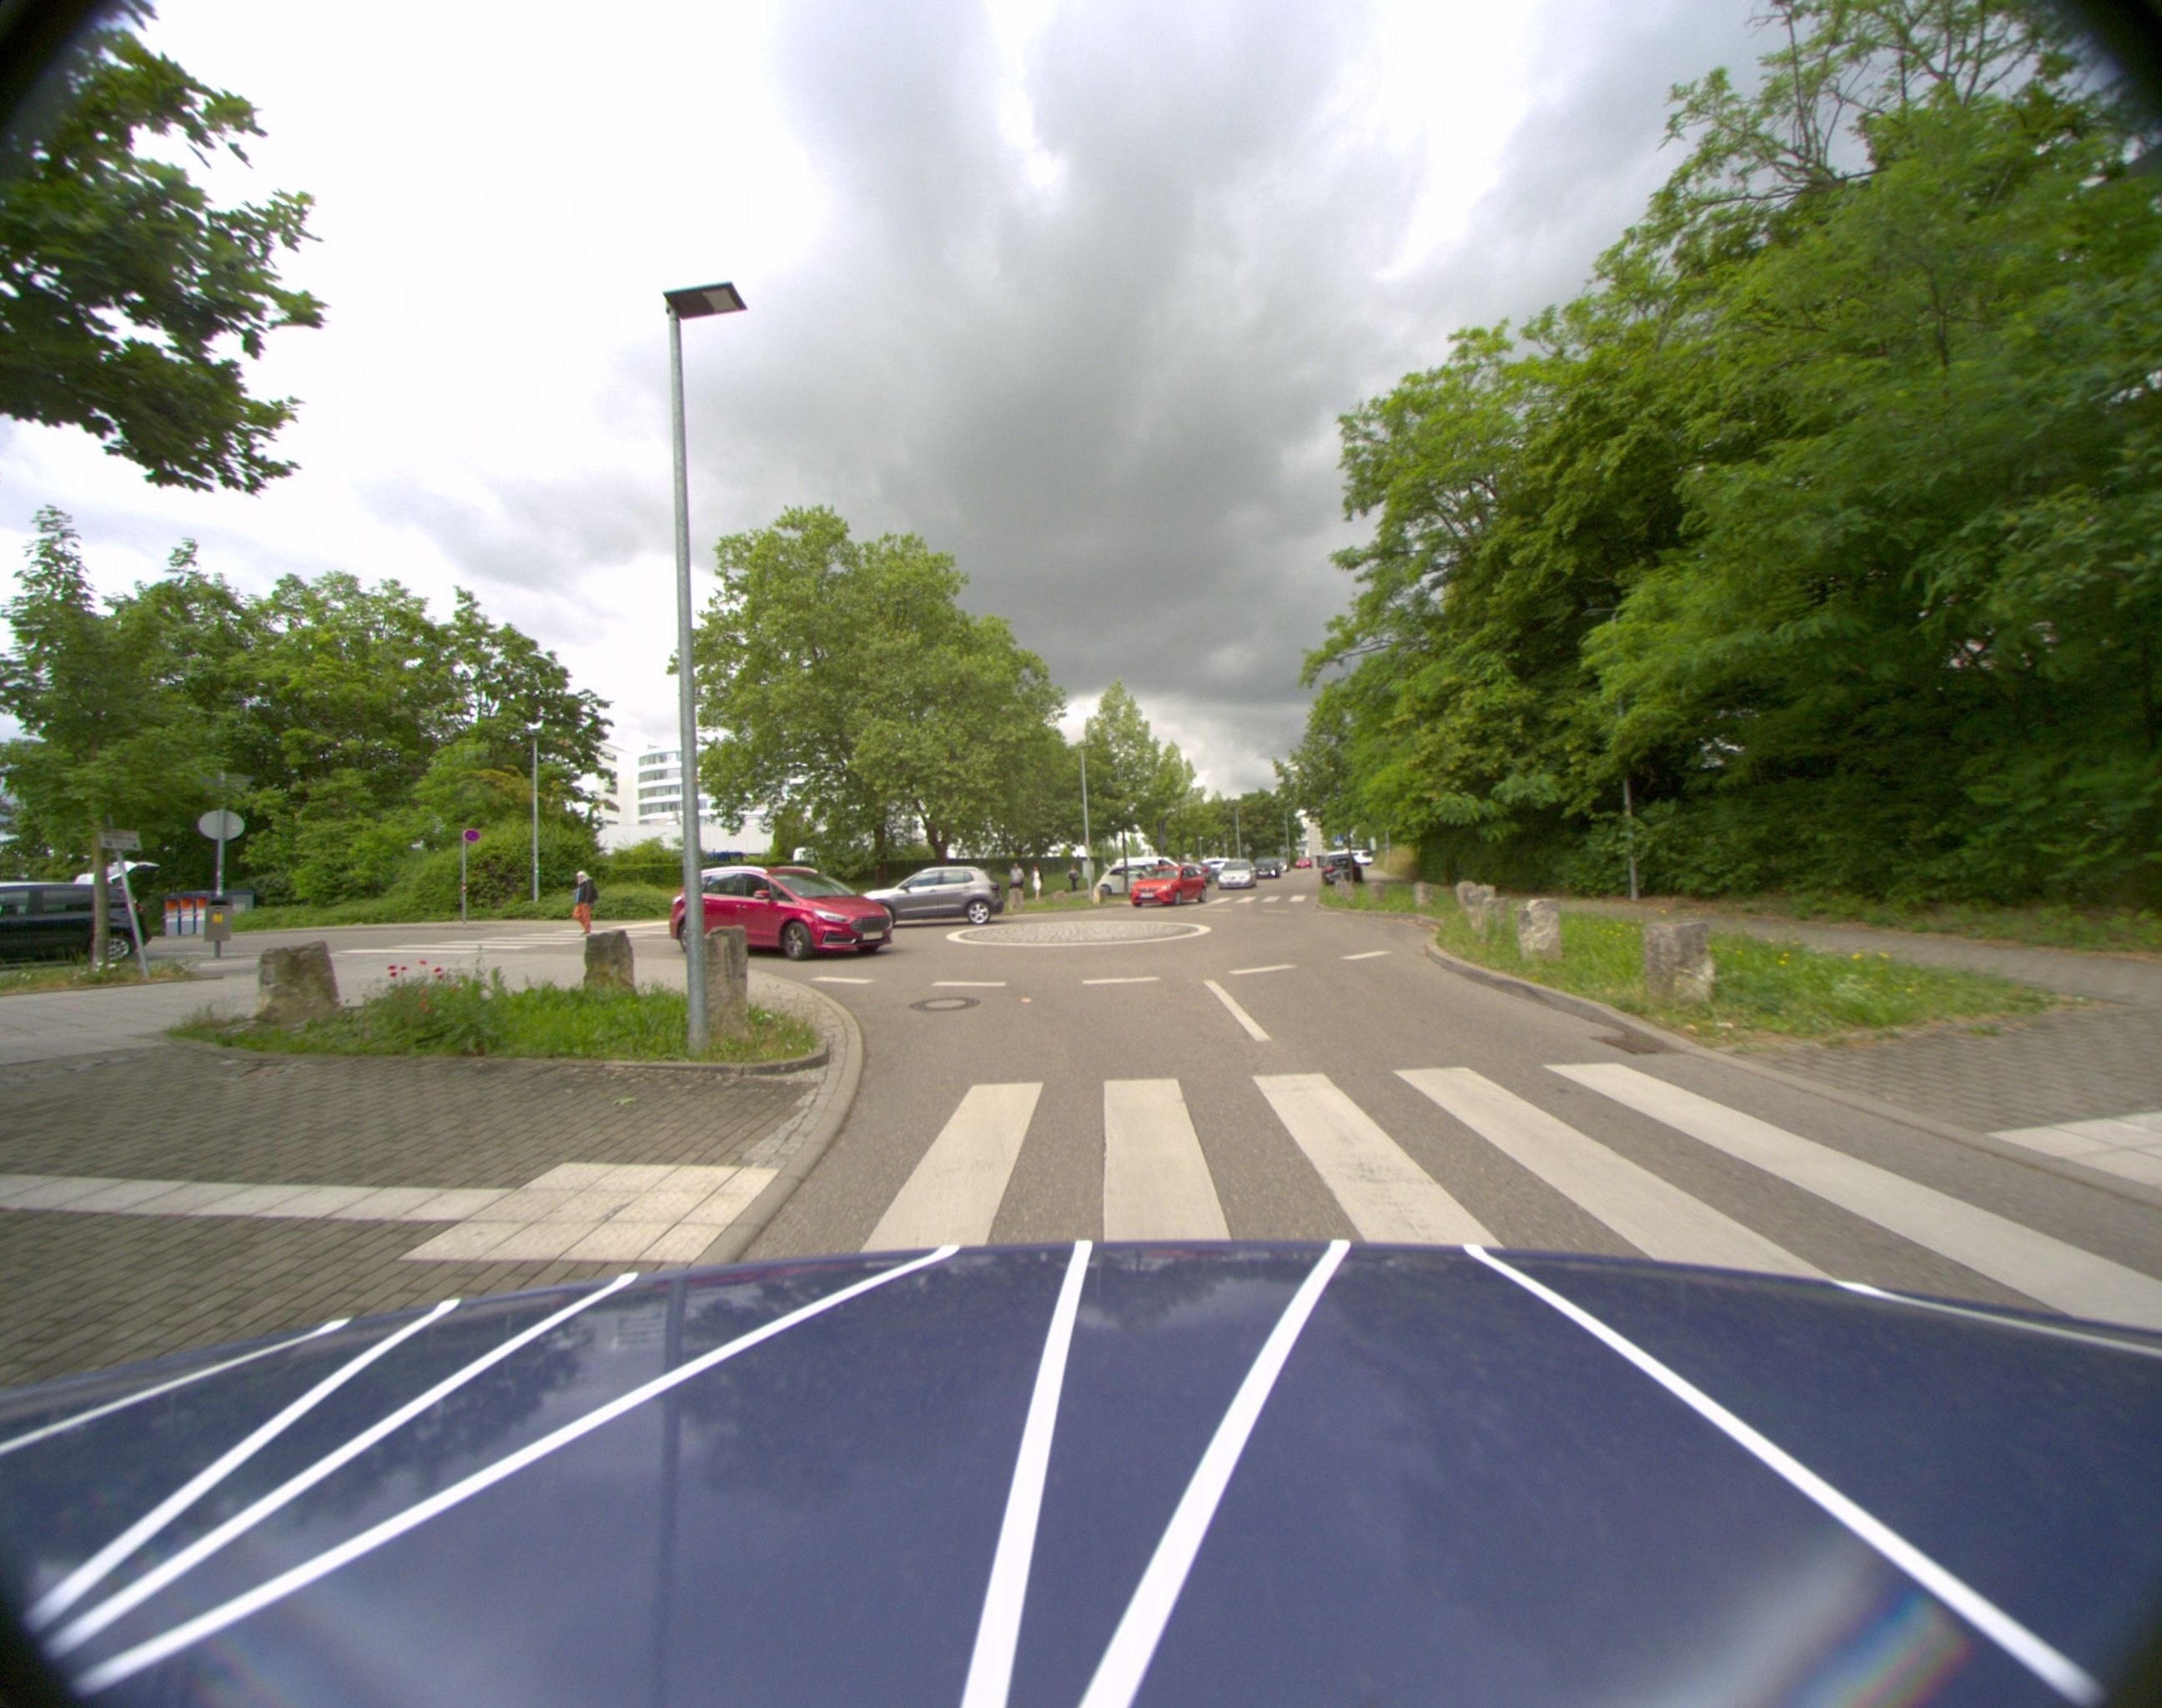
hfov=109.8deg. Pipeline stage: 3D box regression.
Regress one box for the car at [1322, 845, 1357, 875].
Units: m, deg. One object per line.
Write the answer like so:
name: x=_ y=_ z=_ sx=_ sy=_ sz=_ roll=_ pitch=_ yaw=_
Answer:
car: x=16.116 y=0.368 z=47.370 sx=1.810 sy=1.654 sz=4.443 roll=-7 pitch=-2 yaw=18

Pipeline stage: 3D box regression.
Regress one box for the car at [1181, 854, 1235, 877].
car: x=9.711 y=0.851 z=58.100 sx=3.674 sy=1.637 sz=1.854 roll=-2 pitch=0 yaw=20

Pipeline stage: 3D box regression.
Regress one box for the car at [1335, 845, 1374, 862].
car: x=30.634 y=-0.019 z=85.250 sx=1.674 sy=1.630 sz=3.993 roll=-3 pitch=-1 yaw=-26

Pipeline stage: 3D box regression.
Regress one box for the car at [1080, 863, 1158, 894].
car: x=1.922 y=1.211 z=38.115 sx=3.515 sy=1.453 sz=1.741 roll=-1 pitch=0 yaw=18

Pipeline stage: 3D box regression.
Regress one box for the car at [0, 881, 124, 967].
car: x=-22.442 y=1.447 z=15.212 sx=1.569 sy=1.649 sz=3.784 roll=-1 pitch=0 yaw=25

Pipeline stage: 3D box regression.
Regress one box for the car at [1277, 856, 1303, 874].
car: x=20.243 y=1.043 z=73.390 sx=1.756 sy=1.607 sz=4.007 roll=-4 pitch=-1 yaw=23

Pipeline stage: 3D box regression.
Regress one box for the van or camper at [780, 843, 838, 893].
van or camper: x=-16.777 y=0.882 z=46.739 sx=2.118 sy=2.781 sz=4.470 roll=-3 pitch=-1 yaw=-35

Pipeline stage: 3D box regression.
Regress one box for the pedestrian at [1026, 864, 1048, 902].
pedestrian: x=-1.946 y=1.301 z=33.850 sx=0.689 sy=1.647 sz=0.601 roll=-4 pitch=-1 yaw=17

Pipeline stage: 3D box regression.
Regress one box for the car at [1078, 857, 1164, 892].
car: x=2.143 y=1.102 z=40.334 sx=4.156 sy=1.592 sz=1.741 roll=-4 pitch=-1 yaw=17

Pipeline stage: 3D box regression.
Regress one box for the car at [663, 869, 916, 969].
car: x=-5.549 y=1.129 z=14.378 sx=4.524 sy=1.635 sz=1.984 roll=-1 pitch=-1 yaw=28

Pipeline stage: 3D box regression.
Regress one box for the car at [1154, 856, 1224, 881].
car: x=7.556 y=1.008 z=53.129 sx=4.581 sy=1.483 sz=1.954 roll=-3 pitch=0 yaw=16

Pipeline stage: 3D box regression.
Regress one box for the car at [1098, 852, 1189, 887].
car: x=3.541 y=0.887 z=42.789 sx=4.780 sy=1.821 sz=1.845 roll=-2 pitch=0 yaw=17

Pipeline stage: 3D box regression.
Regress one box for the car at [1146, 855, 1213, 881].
car: x=6.208 y=0.868 z=47.700 sx=3.829 sy=1.511 sz=1.914 roll=-2 pitch=0 yaw=18

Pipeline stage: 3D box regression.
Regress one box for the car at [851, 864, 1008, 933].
car: x=-4.052 y=1.169 z=20.787 sx=4.009 sy=1.608 sz=1.721 roll=-2 pitch=0 yaw=-7

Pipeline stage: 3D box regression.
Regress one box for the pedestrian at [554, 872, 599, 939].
pedestrian: x=-12.992 y=1.317 z=19.561 sx=0.842 sy=1.655 sz=0.613 roll=-2 pitch=0 yaw=-41

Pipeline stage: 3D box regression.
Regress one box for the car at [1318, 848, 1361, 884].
car: x=12.411 y=0.551 z=36.551 sx=1.692 sy=1.456 sz=4.462 roll=-7 pitch=-2 yaw=18

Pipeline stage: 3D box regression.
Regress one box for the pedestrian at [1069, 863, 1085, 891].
pedestrian: x=-0.221 y=1.258 z=42.413 sx=0.677 sy=1.510 sz=0.707 roll=-4 pitch=-1 yaw=16

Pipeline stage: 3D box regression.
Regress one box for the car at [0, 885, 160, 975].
car: x=-19.614 y=1.409 z=13.682 sx=1.501 sy=1.467 sz=3.532 roll=-2 pitch=0 yaw=25

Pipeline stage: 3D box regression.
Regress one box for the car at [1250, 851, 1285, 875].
car: x=13.716 y=0.646 z=55.636 sx=1.756 sy=1.607 sz=4.007 roll=-4 pitch=-1 yaw=23

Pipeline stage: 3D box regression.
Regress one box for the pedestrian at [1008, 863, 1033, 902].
pedestrian: x=-2.696 y=1.276 z=34.108 sx=0.870 sy=1.647 sz=0.594 roll=-4 pitch=-1 yaw=17

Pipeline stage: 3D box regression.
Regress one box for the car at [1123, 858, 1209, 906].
car: x=3.250 y=1.002 z=28.291 sx=1.756 sy=1.506 sz=4.007 roll=-4 pitch=-1 yaw=28

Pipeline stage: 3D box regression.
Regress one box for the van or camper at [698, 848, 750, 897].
van or camper: x=-22.258 y=1.210 z=47.294 sx=2.118 sy=2.781 sz=4.470 roll=-3 pitch=-1 yaw=-35

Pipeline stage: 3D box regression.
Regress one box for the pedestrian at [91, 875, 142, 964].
pedestrian: x=-20.073 y=1.363 z=15.814 sx=0.582 sy=1.801 sz=0.485 roll=-4 pitch=-1 yaw=26

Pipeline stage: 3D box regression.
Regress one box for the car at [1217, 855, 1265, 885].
car: x=8.861 y=0.850 z=41.809 sx=1.756 sy=1.506 sz=4.007 roll=-4 pitch=-1 yaw=23

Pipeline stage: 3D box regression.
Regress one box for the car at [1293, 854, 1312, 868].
car: x=27.995 y=0.889 z=95.831 sx=1.756 sy=1.607 sz=4.007 roll=-4 pitch=-1 yaw=23

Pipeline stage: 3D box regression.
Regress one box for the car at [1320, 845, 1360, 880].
car: x=14.256 y=0.427 z=41.833 sx=1.802 sy=1.606 sz=4.483 roll=-7 pitch=-1 yaw=18

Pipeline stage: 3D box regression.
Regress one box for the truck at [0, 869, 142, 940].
truck: x=-42.083 y=2.113 z=31.609 sx=5.796 sy=2.591 sz=2.071 roll=-4 pitch=-1 yaw=21
